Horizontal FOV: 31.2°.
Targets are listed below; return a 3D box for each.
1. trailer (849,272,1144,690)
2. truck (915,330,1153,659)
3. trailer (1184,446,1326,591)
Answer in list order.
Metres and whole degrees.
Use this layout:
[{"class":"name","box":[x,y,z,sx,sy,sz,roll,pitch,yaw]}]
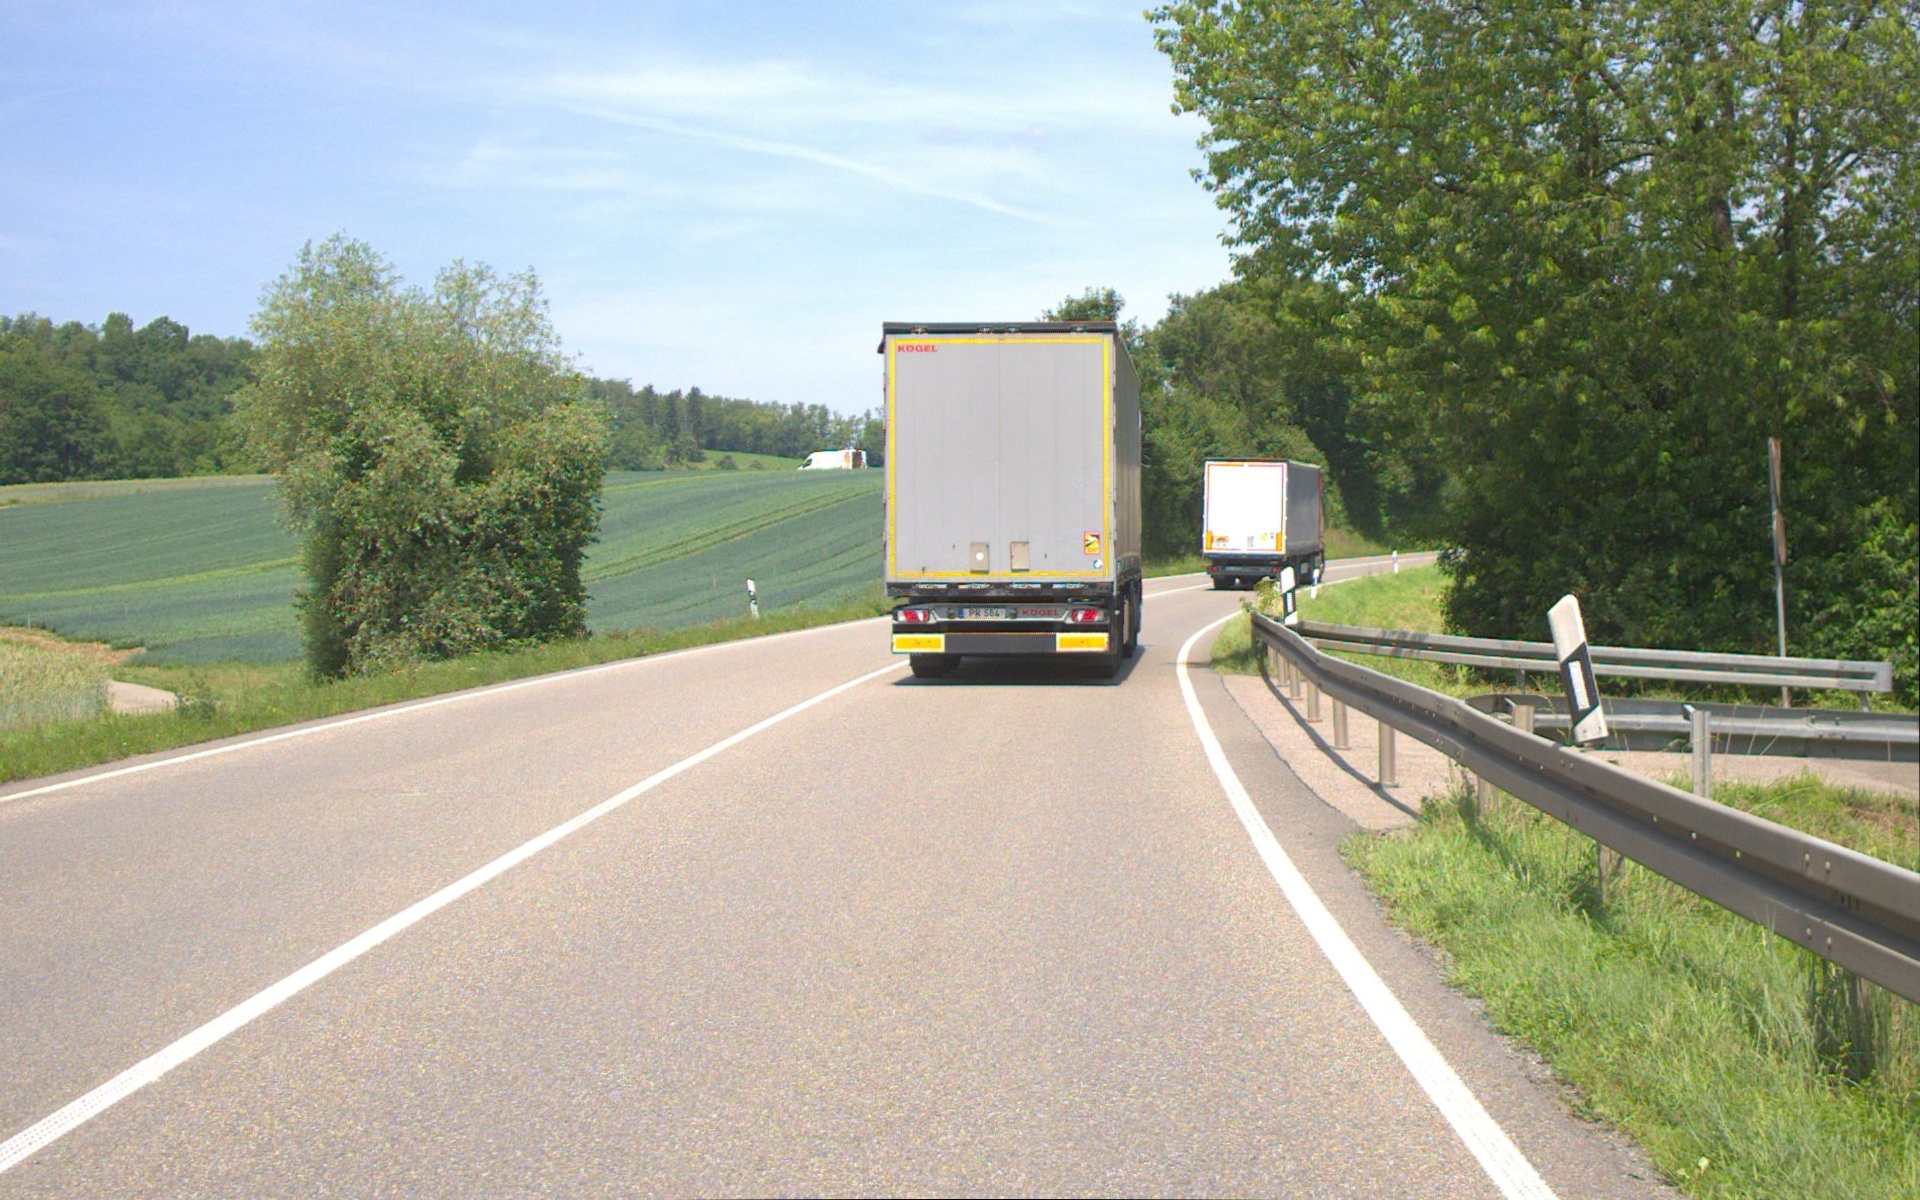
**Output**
[{"class":"trailer","box":[0.767,-1.401,43.975,3.118,4.484,13.885,0,1,3]},{"class":"truck","box":[1.197,-1.497,50.429,3.119,4.479,6.810,0,1,4]},{"class":"trailer","box":[9.636,-2.760,110.623,3.366,4.301,13.861,0,3,10]}]
